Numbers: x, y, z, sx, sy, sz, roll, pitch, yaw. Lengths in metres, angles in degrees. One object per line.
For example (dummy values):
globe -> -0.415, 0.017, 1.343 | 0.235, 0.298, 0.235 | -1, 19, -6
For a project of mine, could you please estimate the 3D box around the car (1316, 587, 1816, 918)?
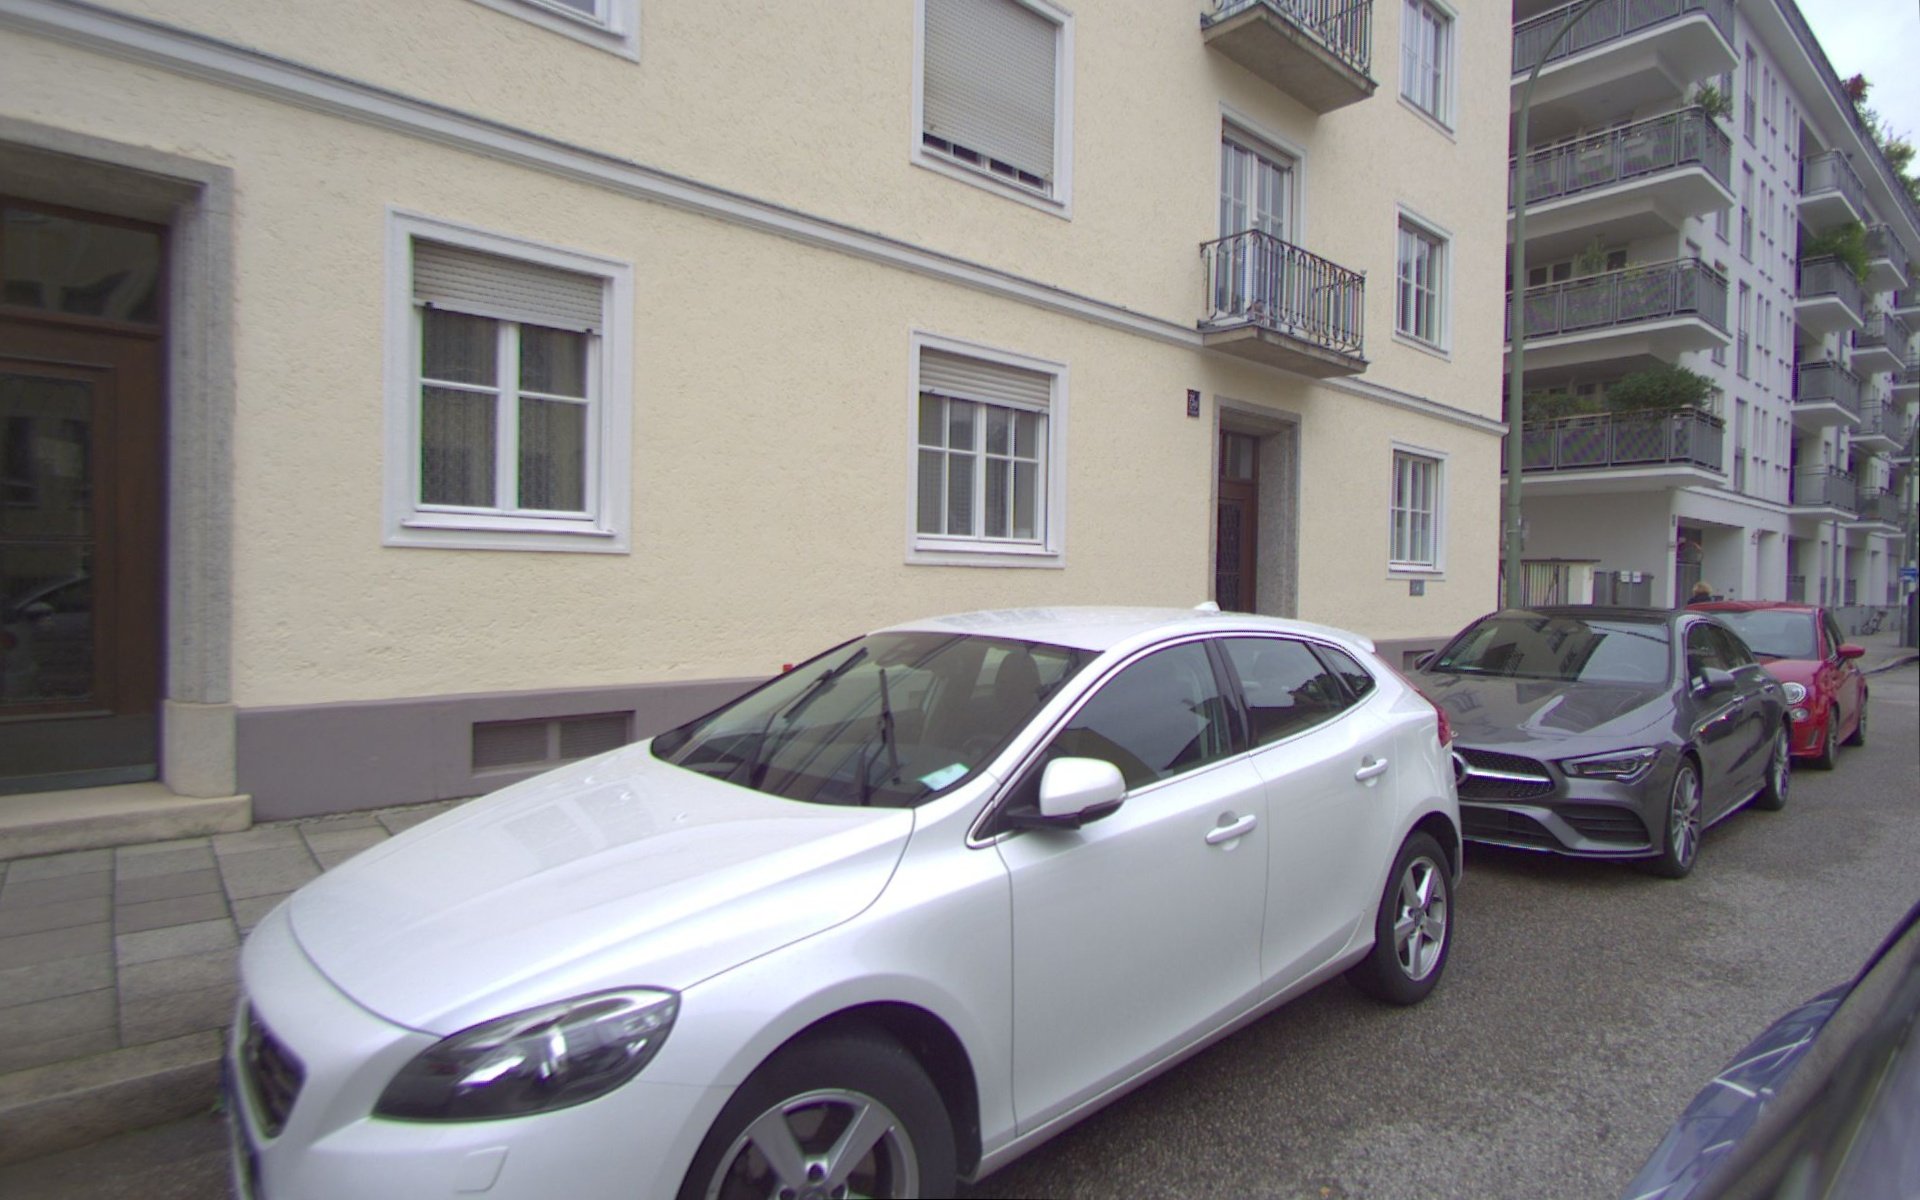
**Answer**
car -> 4.276, 0.690, 6.822 | 4.268, 1.510, 1.695 | -1, 2, -42

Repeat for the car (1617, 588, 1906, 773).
car -> 8.246, 0.666, 10.307 | 3.733, 1.527, 1.599 | 0, 1, -40

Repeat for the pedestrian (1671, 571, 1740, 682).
pedestrian -> 12.227, 0.416, 16.602 | 0.662, 1.749, 0.794 | -2, 1, -44

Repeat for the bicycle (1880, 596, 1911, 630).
bicycle -> 34.047, 0.456, 36.831 | 2.091, 1.174, 0.628 | 0, 1, -43

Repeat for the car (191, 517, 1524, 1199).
car -> 0.166, 0.645, 3.365 | 4.208, 1.510, 1.695 | 1, 1, -42
